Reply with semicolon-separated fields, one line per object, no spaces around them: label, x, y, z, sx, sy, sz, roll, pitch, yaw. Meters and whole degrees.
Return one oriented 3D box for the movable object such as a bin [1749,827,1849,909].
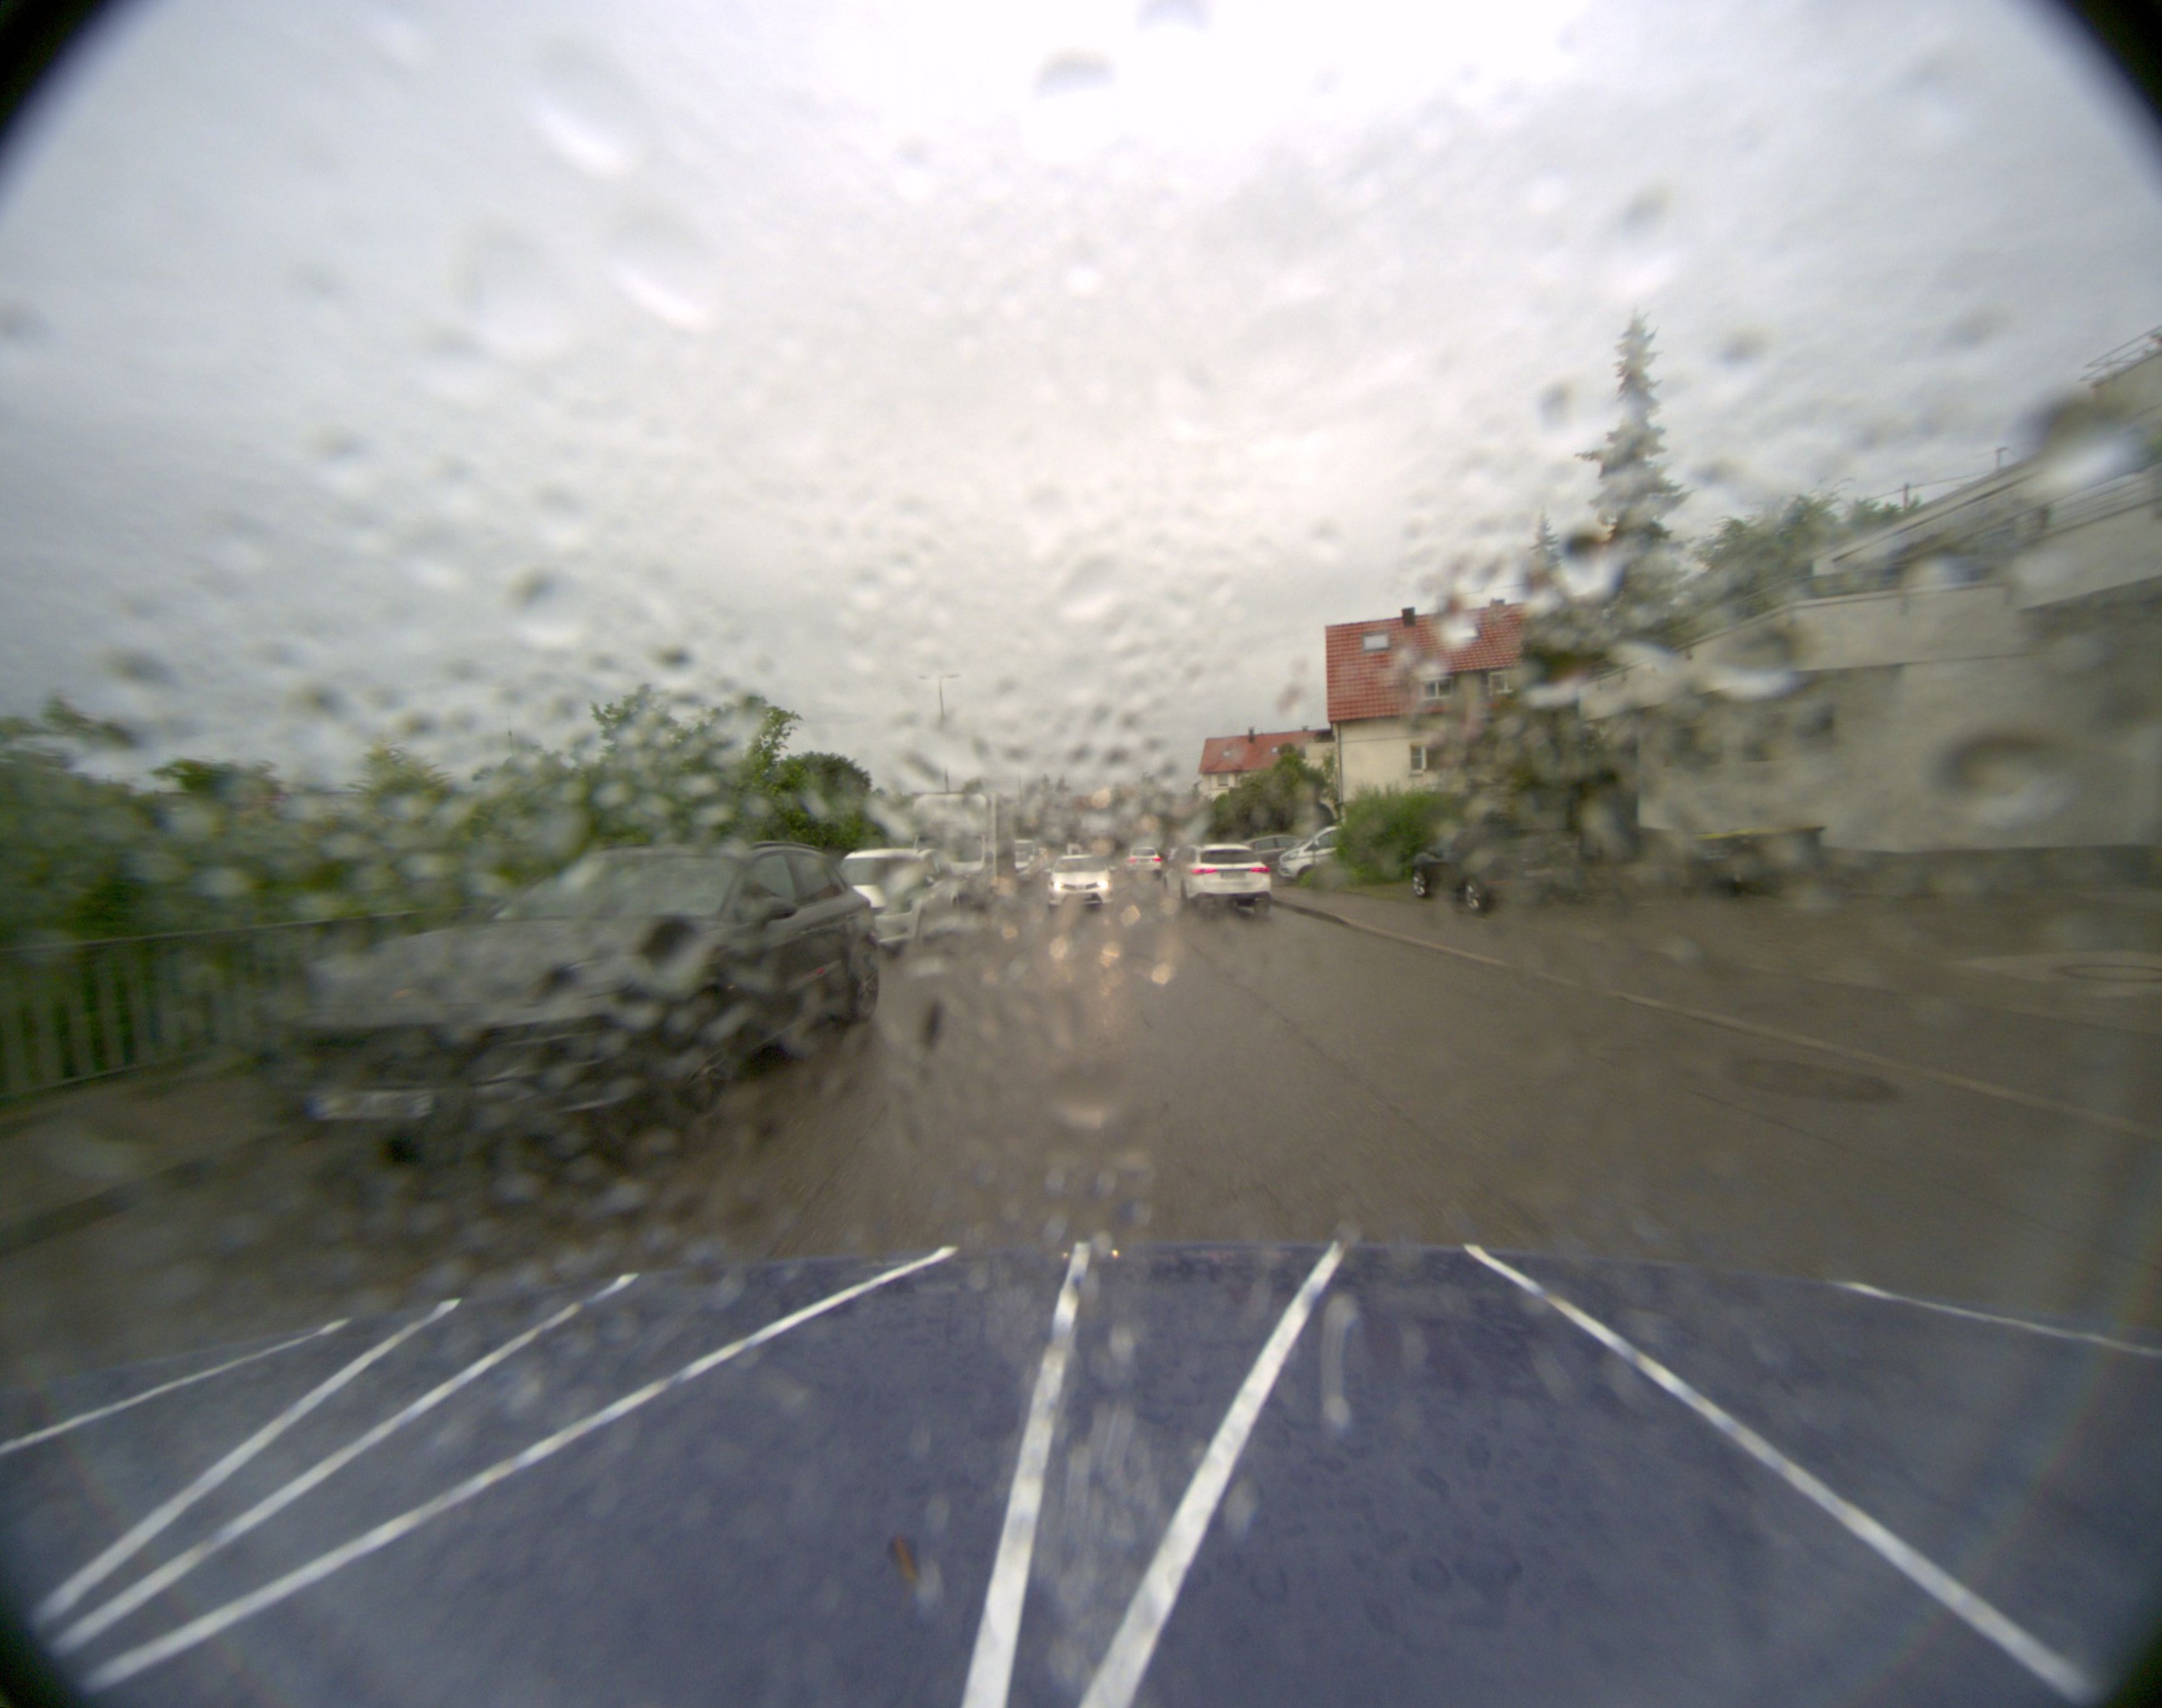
movable object such as a bin;10.372;0.195;11.003;0.725;1.064;0.767;-6;2;18

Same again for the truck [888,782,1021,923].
truck;-3.357;-0.107;22.268;2.442;3.316;7.963;-1;1;0

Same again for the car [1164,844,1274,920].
car;3.130;0.569;18.106;1.803;1.558;4.383;-1;1;0

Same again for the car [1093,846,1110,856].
car;3.182;-0.464;117.051;1.635;1.448;3.704;-1;1;17

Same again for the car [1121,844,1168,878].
car;3.269;0.315;40.024;1.911;1.598;4.427;-3;1;-2

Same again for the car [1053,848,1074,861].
car;-2.068;0.042;90.751;1.797;1.451;4.790;-1;1;6

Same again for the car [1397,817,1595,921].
car;8.104;0.241;15.348;1.693;1.579;4.197;-9;0;3

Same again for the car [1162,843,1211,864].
car;8.958;-0.027;64.588;3.831;1.470;1.805;4;3;15

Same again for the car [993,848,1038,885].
car;-3.129;0.570;37.194;1.764;1.595;4.665;-1;1;0

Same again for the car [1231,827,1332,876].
car;8.740;-0.114;33.316;4.061;1.682;1.895;-6;1;14

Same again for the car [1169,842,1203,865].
car;7.605;-0.071;55.234;1.808;1.588;4.416;-1;1;0

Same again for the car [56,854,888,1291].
car;-3.031;0.884;5.375;1.941;1.662;4.694;-1;1;2

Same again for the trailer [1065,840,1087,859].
trailer;-0.688;-0.653;101.932;1.952;2.443;5.437;-1;1;10

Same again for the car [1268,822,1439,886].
car;8.891;0.017;25.195;5.091;1.933;2.144;-1;1;16

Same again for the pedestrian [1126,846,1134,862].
pedestrian;4.791;-0.013;74.846;0.718;1.626;0.707;-2;1;2

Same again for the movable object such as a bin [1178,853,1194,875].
movable object such as a bin;5.363;0.521;38.760;0.604;1.058;0.698;-4;1;-4

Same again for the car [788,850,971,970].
car;-3.416;0.824;14.161;1.850;1.674;5.637;-1;1;0

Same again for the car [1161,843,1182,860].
car;8.280;-0.260;69.269;1.769;1.368;4.249;-5;1;7

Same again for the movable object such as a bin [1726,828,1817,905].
movable object such as a bin;10.639;0.175;11.735;0.725;1.064;0.767;-6;2;18

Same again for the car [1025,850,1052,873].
car;-3.121;0.504;56.708;1.652;1.554;3.963;-1;1;2

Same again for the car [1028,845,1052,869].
car;-3.370;0.189;63.070;1.854;1.871;4.908;-2;1;-2

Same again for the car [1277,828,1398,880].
car;9.493;-0.008;28.340;4.060;1.629;1.895;-3;2;16

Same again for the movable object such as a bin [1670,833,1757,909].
movable object such as a bin;9.981;0.250;12.019;0.725;1.064;0.850;-6;2;18

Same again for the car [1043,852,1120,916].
car;0.105;0.751;21.376;1.863;1.370;4.180;-4;2;3

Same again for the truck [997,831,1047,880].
truck;-3.372;0.011;45.003;2.244;2.616;6.537;-1;1;1

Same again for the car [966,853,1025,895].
car;-3.322;0.735;30.473;1.837;1.429;4.985;-2;1;-1
